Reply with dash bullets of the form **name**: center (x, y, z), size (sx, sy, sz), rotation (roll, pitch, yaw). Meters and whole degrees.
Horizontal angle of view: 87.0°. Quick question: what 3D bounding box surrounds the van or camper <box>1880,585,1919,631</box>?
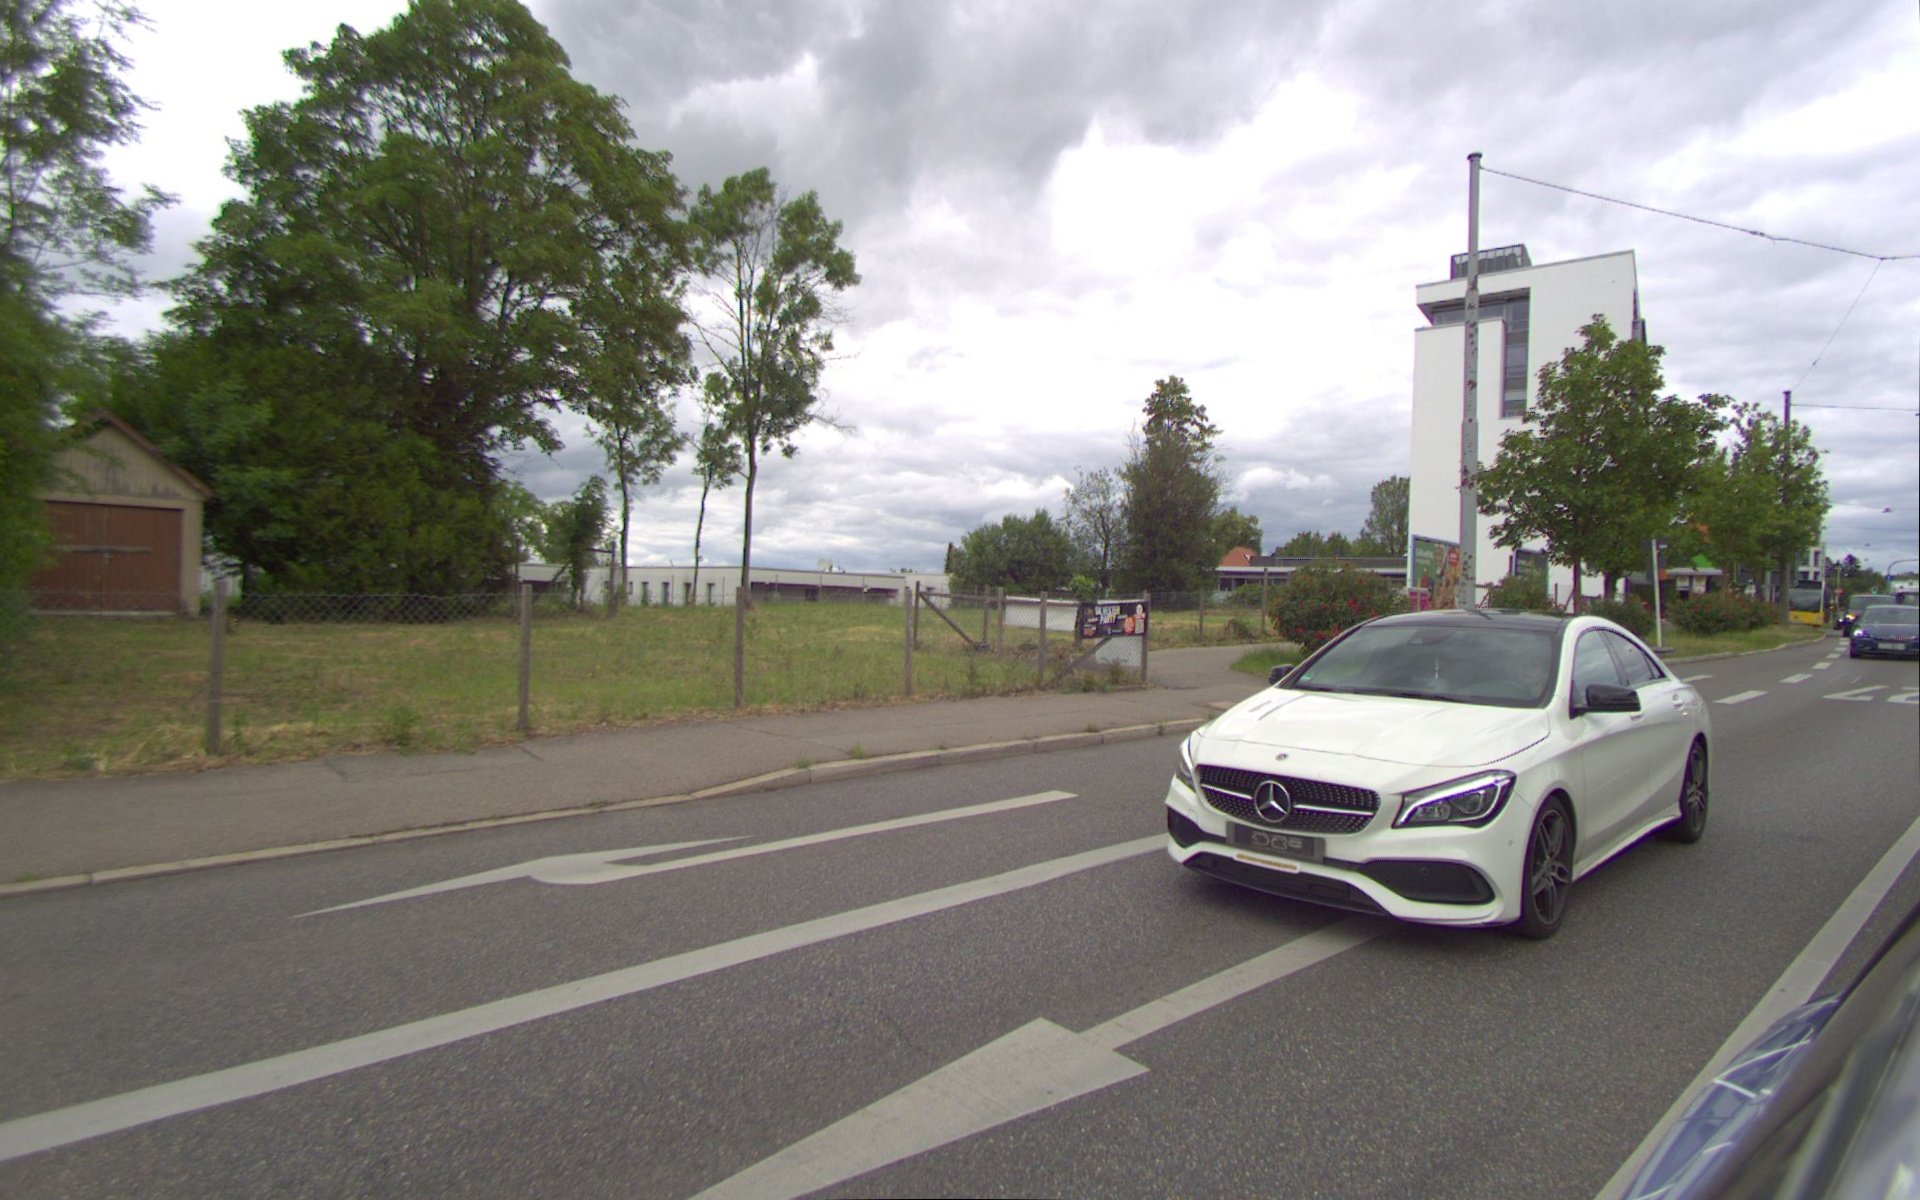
- **van or camper**: center (40.952, 0.330, 43.349), size (4.764, 1.902, 1.807), rotation (1, 0, -41)

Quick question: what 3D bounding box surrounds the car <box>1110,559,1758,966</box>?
- **car**: center (3.126, 0.629, 6.081), size (4.691, 1.524, 1.870), rotation (1, -1, -42)

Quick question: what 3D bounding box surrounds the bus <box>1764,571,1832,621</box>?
- **bus**: center (58.597, -0.260, 70.954), size (3.028, 3.276, 9.214), rotation (2, 1, 36)

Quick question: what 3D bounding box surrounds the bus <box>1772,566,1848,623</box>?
- **bus**: center (53.078, -0.330, 63.427), size (2.975, 3.282, 9.734), rotation (1, 0, 36)

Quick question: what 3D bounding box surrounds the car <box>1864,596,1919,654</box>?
- **car**: center (26.094, 0.656, 27.909), size (1.730, 1.501, 4.302), rotation (0, 0, 42)
